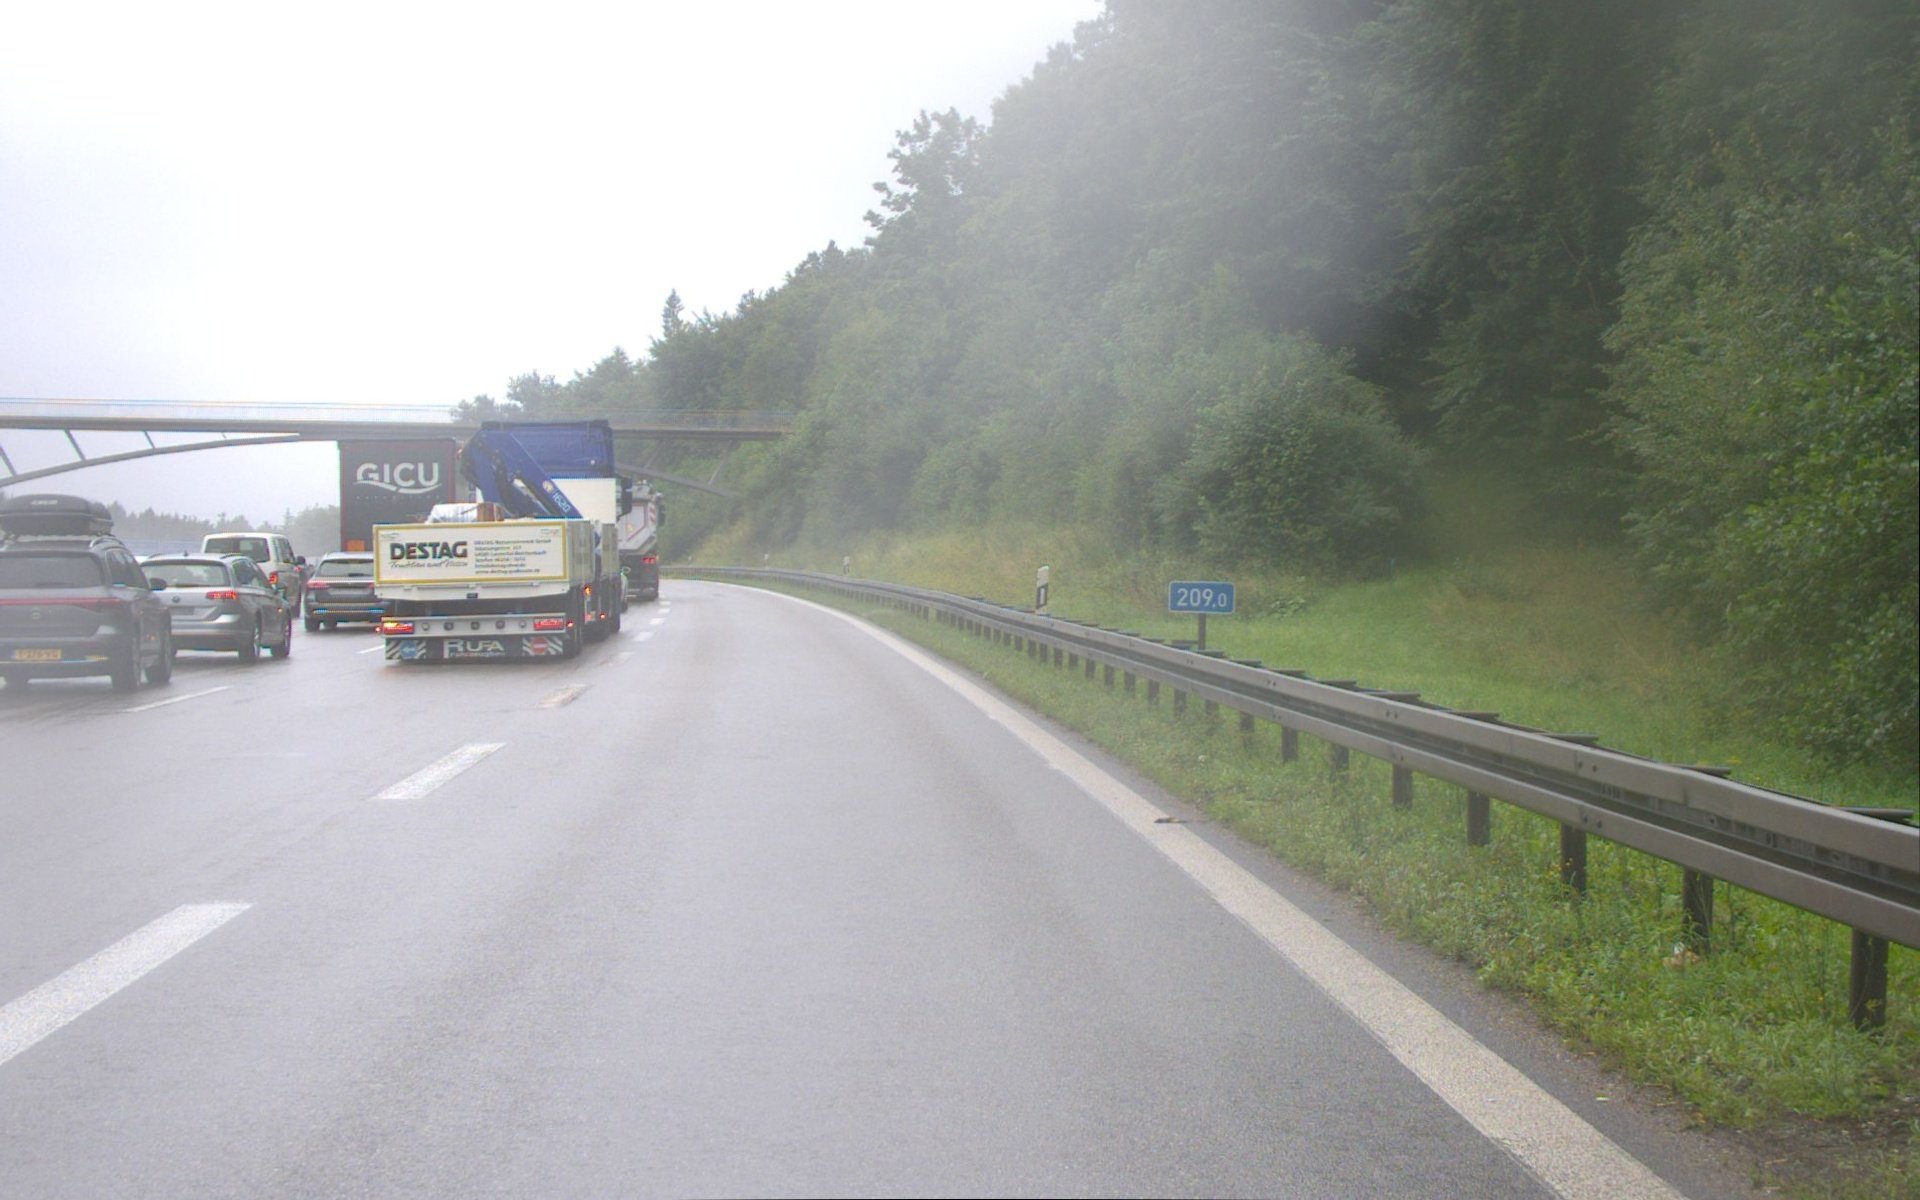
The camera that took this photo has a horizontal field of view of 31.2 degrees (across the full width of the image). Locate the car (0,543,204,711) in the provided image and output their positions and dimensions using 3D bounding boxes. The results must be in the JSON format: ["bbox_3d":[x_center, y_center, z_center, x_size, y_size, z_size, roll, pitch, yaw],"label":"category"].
[{"bbox_3d":[-9.573,0.278,37.091,1.993,1.630,4.000,3,-1,-2],"label":"car"}]

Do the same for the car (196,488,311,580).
[{"bbox_3d":[-15.895,-1.459,77.533,1.844,1.853,4.000,3,-1,-3],"label":"car"}]

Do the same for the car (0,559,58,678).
[{"bbox_3d":[-14.912,0.235,51.341,1.786,1.740,4.000,3,-1,-1],"label":"car"}]

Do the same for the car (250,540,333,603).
[{"bbox_3d":[-19.482,-0.821,100.289,1.851,1.657,4.000,3,-1,-5],"label":"car"}]

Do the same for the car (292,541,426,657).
[{"bbox_3d":[-11.263,0.002,64.623,1.793,2.007,4.000,3,-1,-1],"label":"car"}]

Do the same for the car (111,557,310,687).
[{"bbox_3d":[-10.079,0.259,46.501,1.938,1.656,4.000,0,1,-2],"label":"car"}]

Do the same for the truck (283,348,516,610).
[{"bbox_3d":[-13.046,-2.666,81.076,3.754,5.480,10.173,3,-1,-1],"label":"truck"}]

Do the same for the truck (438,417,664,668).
[{"bbox_3d":[-7.719,-0.963,66.339,3.507,4.253,10.604,3,-1,-4],"label":"truck"}]

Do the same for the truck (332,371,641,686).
[{"bbox_3d":[-6.696,-1.041,50.520,3.599,4.091,11.562,0,1,-3],"label":"truck"}]

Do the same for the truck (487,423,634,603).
[{"bbox_3d":[-13.950,-2.923,120.875,4.335,5.744,9.731,3,-1,-4],"label":"truck"}]

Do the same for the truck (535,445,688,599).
[{"bbox_3d":[-10.184,-2.193,101.752,3.754,3.957,11.060,3,-1,-3],"label":"truck"}]
